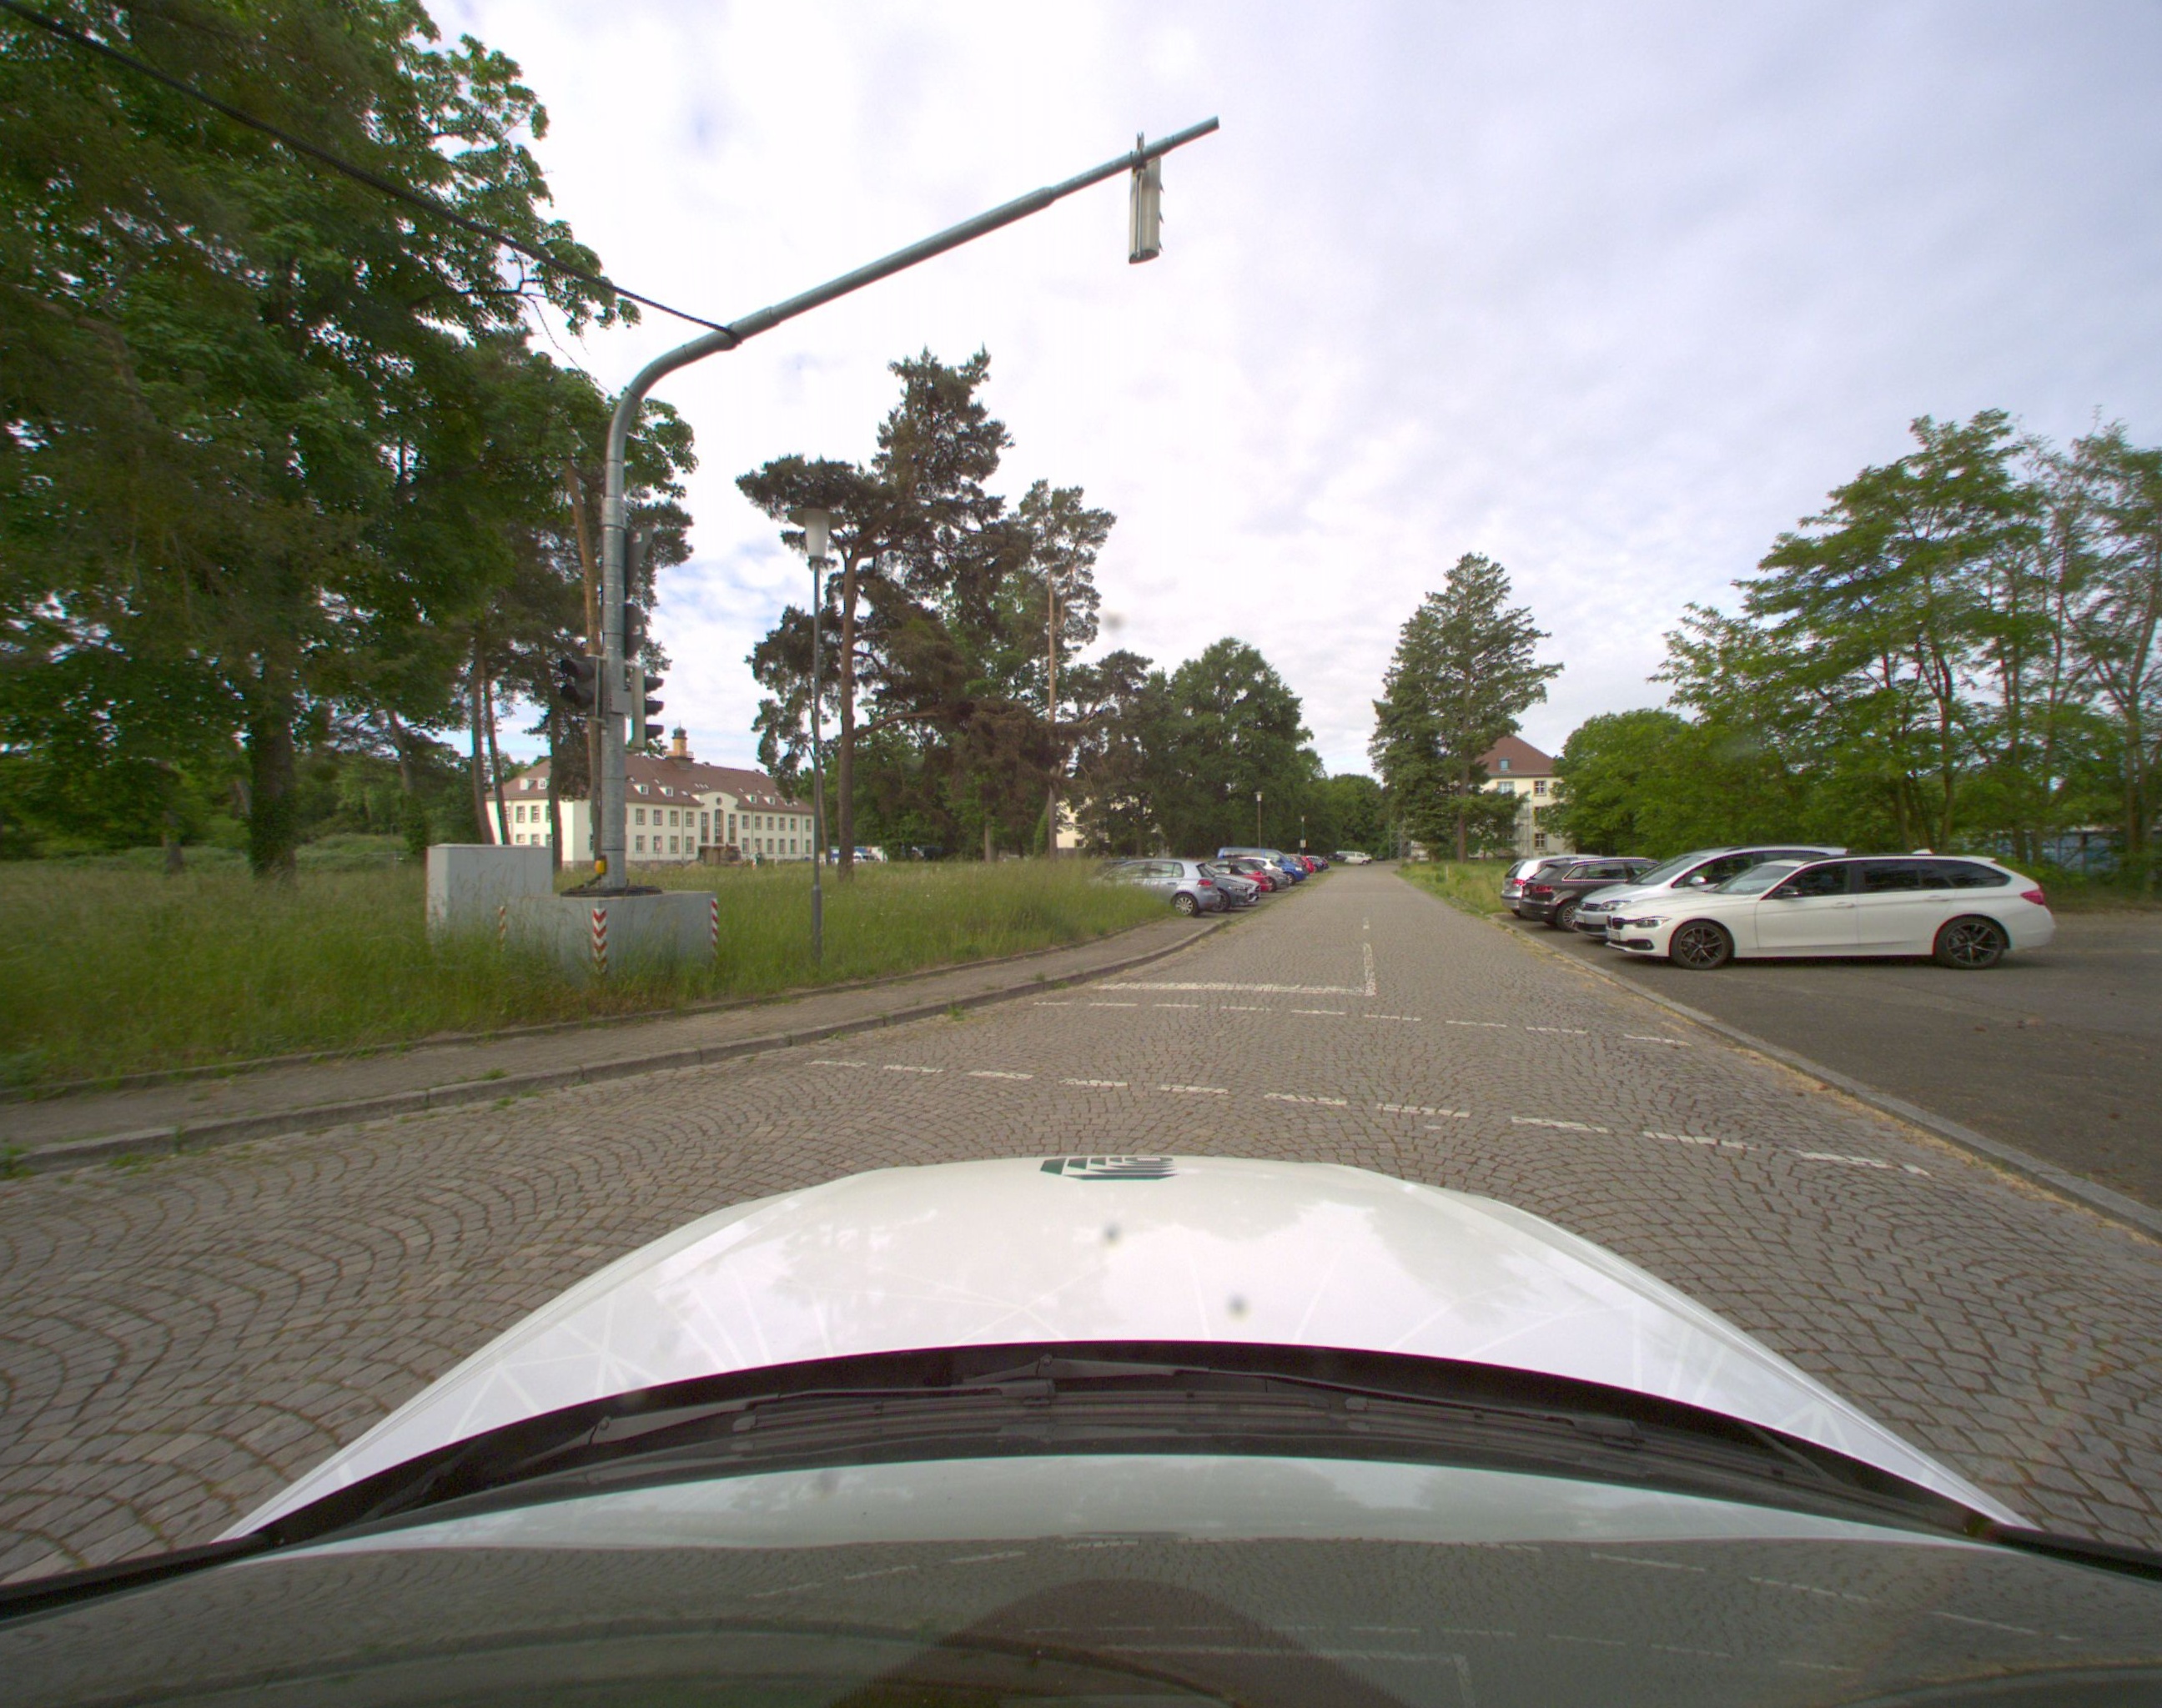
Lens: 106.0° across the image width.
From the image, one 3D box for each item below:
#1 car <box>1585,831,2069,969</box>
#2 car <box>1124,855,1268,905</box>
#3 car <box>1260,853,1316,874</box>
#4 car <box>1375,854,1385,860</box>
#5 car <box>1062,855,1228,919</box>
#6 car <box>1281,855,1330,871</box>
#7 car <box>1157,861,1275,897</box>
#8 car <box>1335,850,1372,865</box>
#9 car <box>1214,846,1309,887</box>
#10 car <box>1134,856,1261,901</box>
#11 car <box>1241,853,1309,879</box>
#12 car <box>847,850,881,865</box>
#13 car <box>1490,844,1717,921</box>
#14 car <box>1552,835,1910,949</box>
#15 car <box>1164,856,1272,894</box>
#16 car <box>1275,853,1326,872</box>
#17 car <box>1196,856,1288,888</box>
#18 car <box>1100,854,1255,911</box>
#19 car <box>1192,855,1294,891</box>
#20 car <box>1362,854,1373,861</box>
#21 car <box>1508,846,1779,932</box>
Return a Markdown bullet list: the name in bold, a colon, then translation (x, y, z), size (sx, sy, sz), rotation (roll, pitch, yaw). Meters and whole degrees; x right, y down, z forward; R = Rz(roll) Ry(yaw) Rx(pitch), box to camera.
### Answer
- **car**: translation (9.767, 0.627, 11.171), size (4.458, 1.566, 1.914), rotation (-3, -1, 16)
- **car**: translation (3.757, 0.811, 26.386), size (4.340, 1.507, 1.944), rotation (0, 0, 17)
- **car**: translation (15.822, 0.732, 62.232), size (4.023, 1.525, 1.913), rotation (0, 0, 17)
- **car**: translation (67.096, 0.682, 182.863), size (1.936, 1.522, 4.018), rotation (0, 0, 18)
- **car**: translation (1.702, 0.809, 21.273), size (3.955, 1.543, 1.914), rotation (0, 0, 18)
- **car**: translation (21.034, 0.814, 76.349), size (4.267, 1.461, 1.985), rotation (1, 0, 20)
- **car**: translation (5.125, 0.933, 30.876), size (4.131, 1.266, 1.840), rotation (0, 0, 20)
- **car**: translation (40.651, 0.472, 121.496), size (5.194, 2.168, 2.009), rotation (0, 0, 16)
- **car**: translation (9.733, 0.650, 43.869), size (4.743, 2.122, 2.125), rotation (0, 0, 18)
- **car**: translation (4.121, 0.825, 28.699), size (4.132, 1.476, 1.873), rotation (0, 0, 18)
- **car**: translation (12.476, 0.752, 52.362), size (4.134, 1.622, 1.995), rotation (0, 0, 16)
- **car**: translation (-31.272, 0.526, 117.580), size (1.976, 2.014, 5.258), rotation (-1, -1, 22)
- **car**: translation (11.927, 0.658, 18.904), size (4.042, 1.515, 1.812), rotation (-3, -1, 16)
- **car**: translation (10.546, 0.621, 13.615), size (4.208, 1.596, 1.893), rotation (-3, -1, 15)
- **car**: translation (5.651, 0.826, 33.515), size (4.131, 1.482, 1.855), rotation (0, 0, 20)
- **car**: translation (19.392, 0.766, 71.913), size (4.195, 1.577, 1.896), rotation (1, 0, 17)
- **car**: translation (7.713, 0.845, 38.937), size (4.034, 1.497, 1.855), rotation (0, 0, 20)
- **car**: translation (2.843, 0.803, 23.783), size (4.218, 1.548, 1.944), rotation (0, 0, 15)
- **car**: translation (7.164, 0.827, 35.985), size (4.131, 1.491, 1.874), rotation (0, 0, 20)
- **car**: translation (64.483, 0.711, 183.436), size (2.102, 1.522, 4.018), rotation (0, 0, 18)
- **car**: translation (11.033, 0.697, 16.332), size (4.042, 1.453, 1.893), rotation (-3, -1, 16)
